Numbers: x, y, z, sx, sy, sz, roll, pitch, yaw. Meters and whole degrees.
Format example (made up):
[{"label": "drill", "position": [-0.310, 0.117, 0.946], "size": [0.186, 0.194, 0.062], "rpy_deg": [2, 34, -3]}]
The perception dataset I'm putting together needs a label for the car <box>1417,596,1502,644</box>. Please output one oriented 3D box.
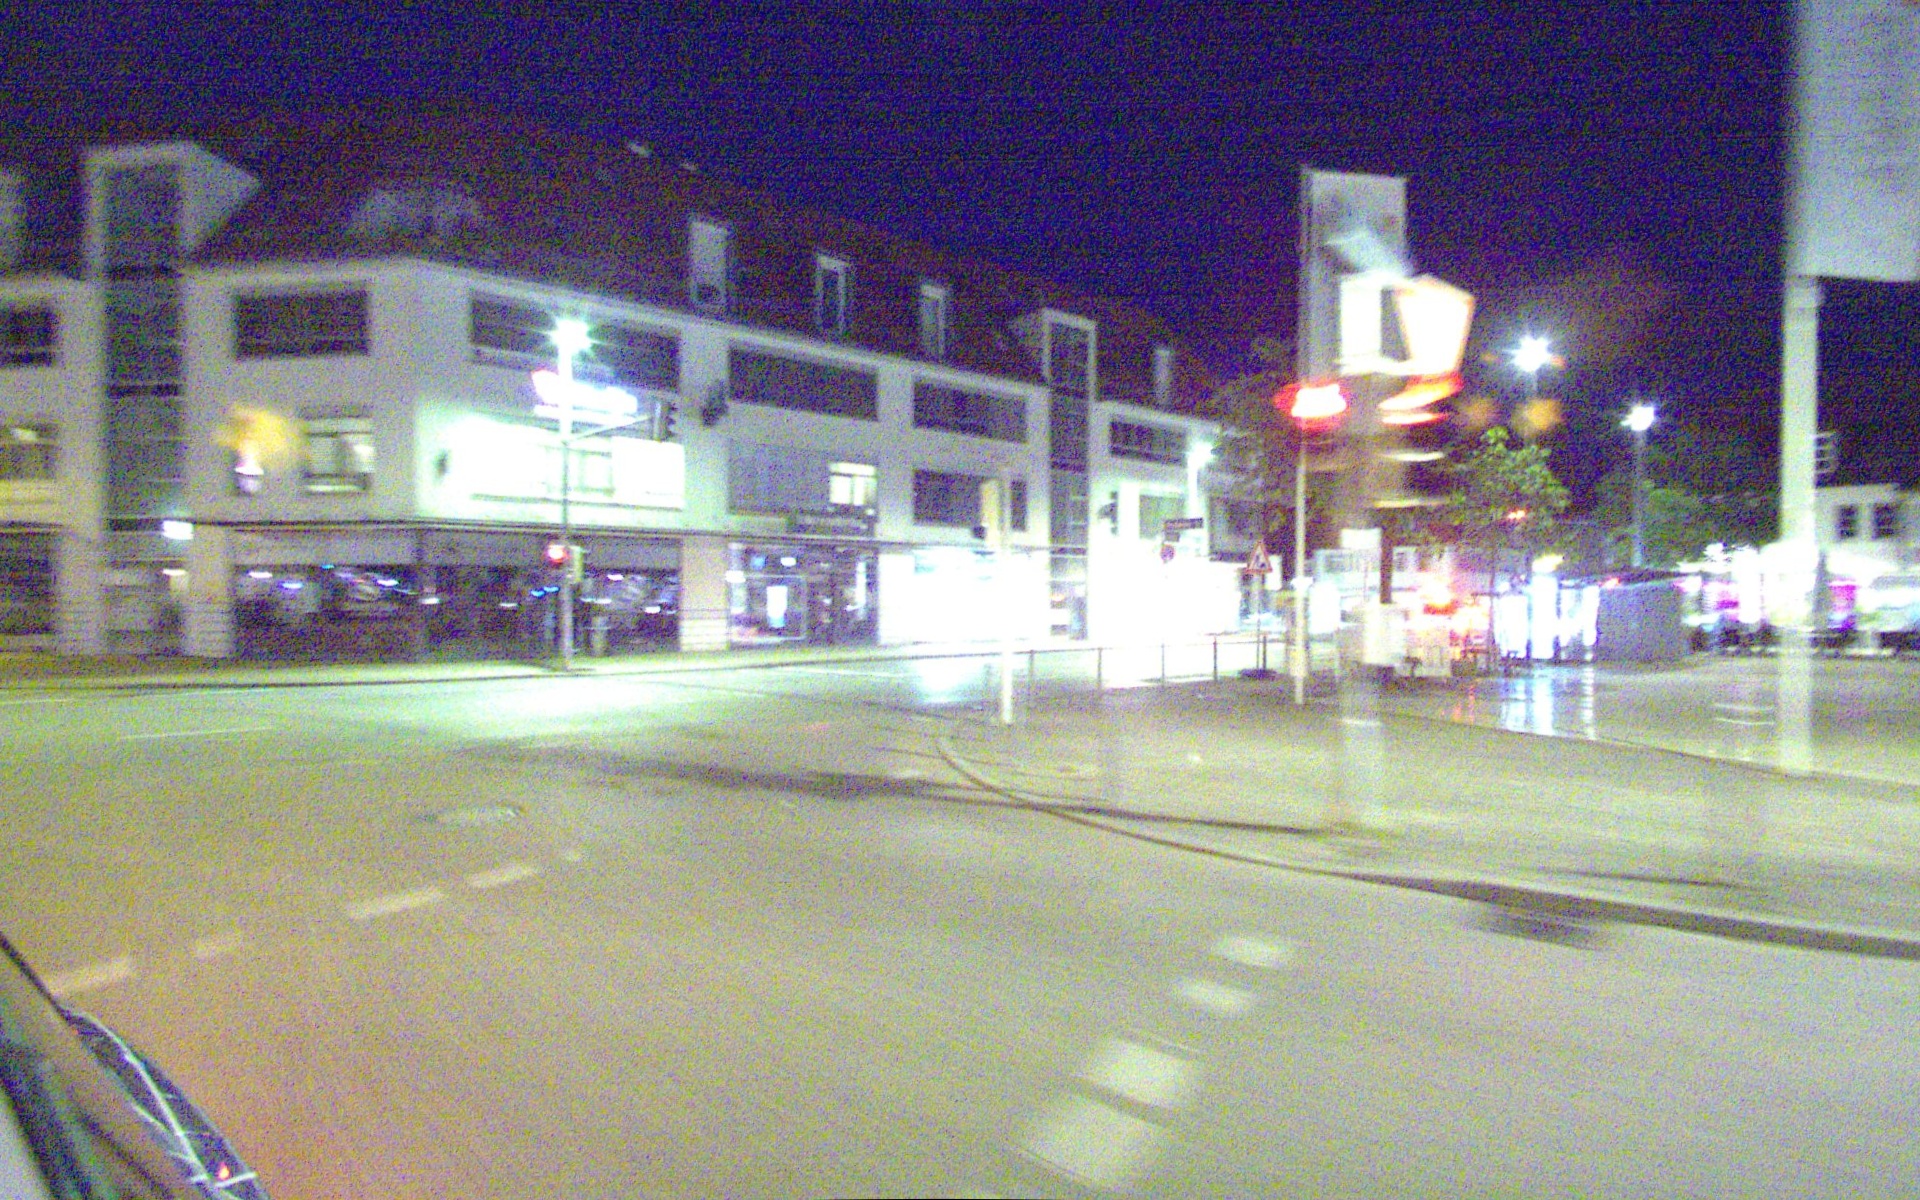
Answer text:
[{"label": "car", "position": [21.322, 0.861, 43.145], "size": [1.961, 1.952, 4.354], "rpy_deg": [-3, -3, 44]}]
